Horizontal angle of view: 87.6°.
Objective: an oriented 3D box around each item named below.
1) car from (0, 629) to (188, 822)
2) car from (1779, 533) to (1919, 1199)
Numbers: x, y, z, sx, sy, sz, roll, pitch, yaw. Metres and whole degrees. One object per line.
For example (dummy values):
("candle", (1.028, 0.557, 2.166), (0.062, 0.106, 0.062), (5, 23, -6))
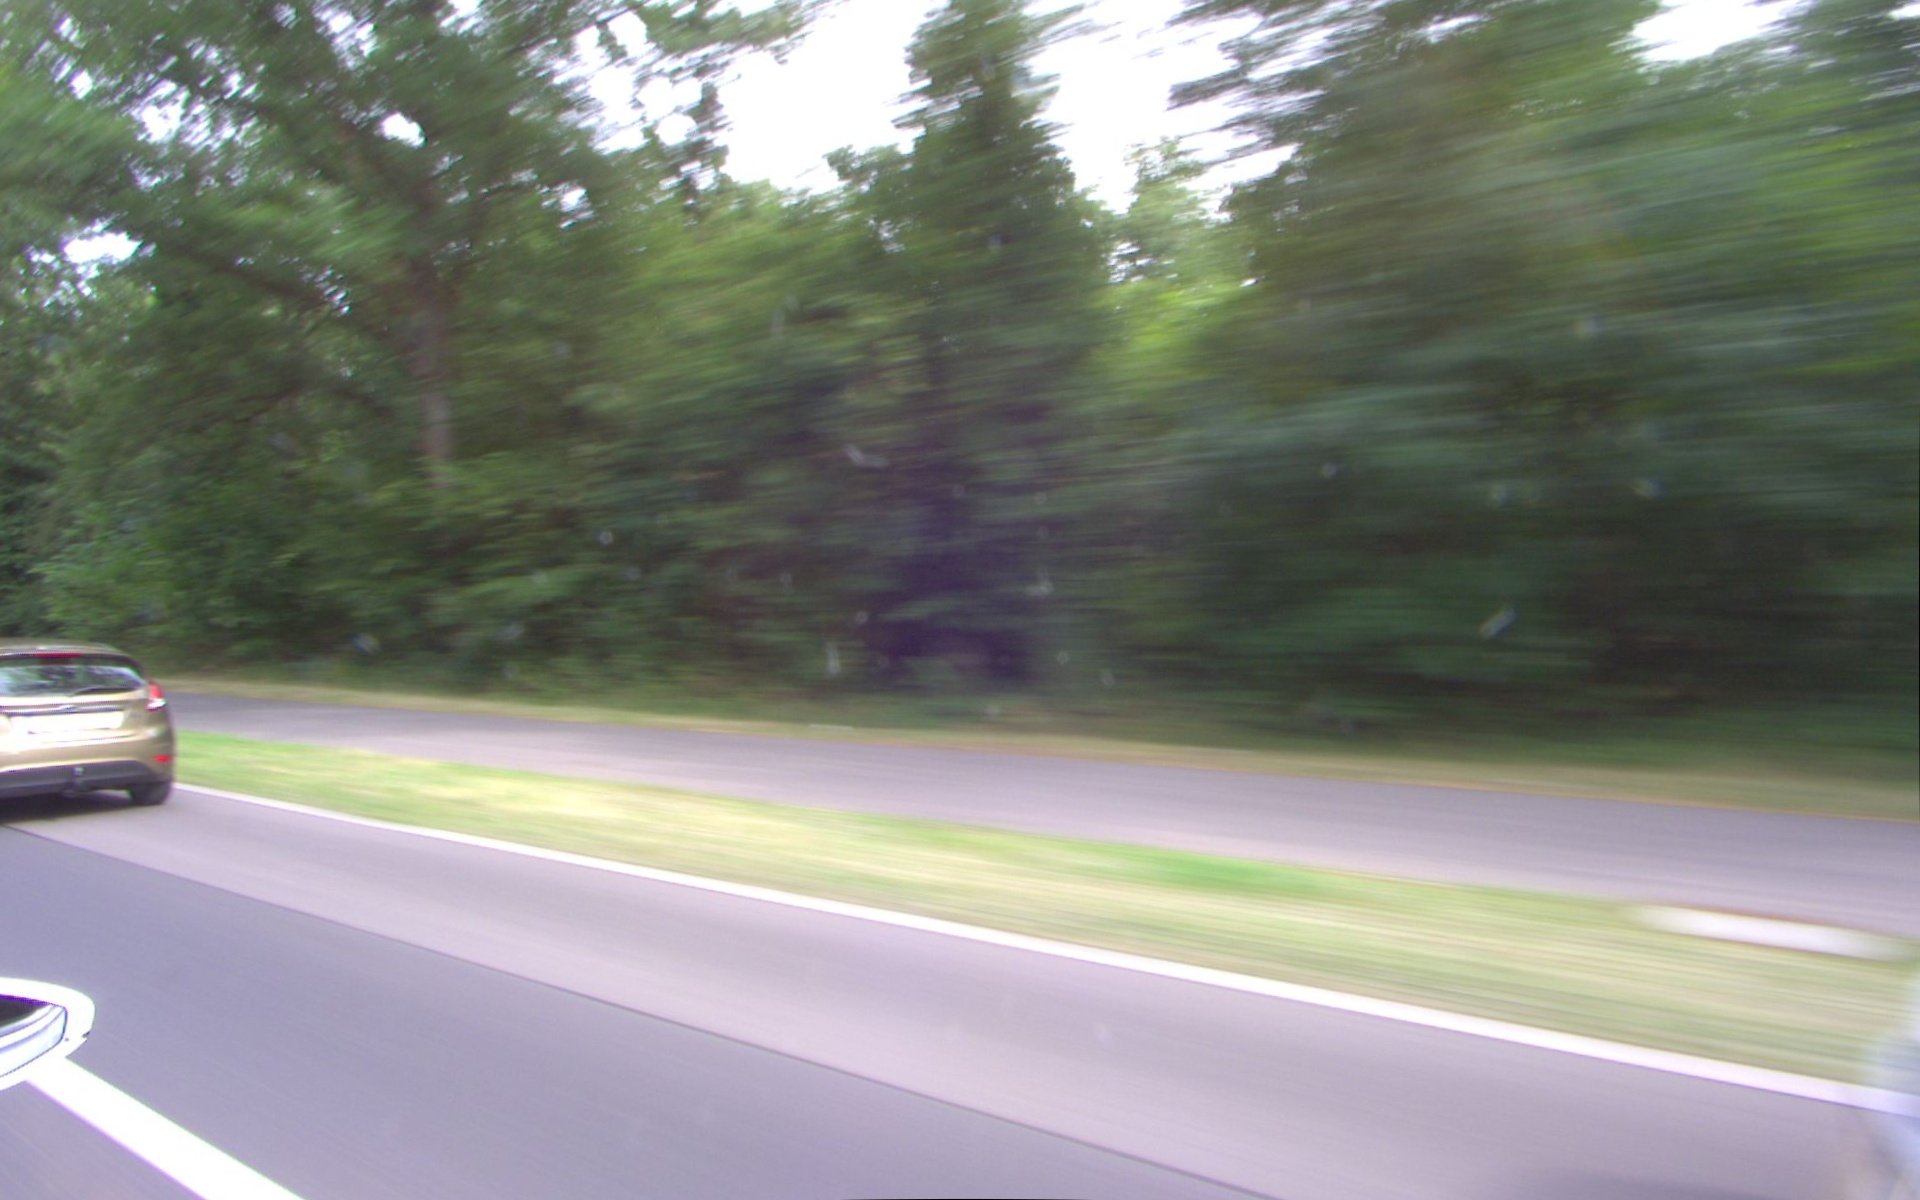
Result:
("car", (-8.633, 1.014, 8.833), (3.944, 1.437, 1.633), (-2, -3, 33))
("car", (3.631, 0.632, 0.736), (4.424, 1.427, 1.835), (1, -3, 31))
